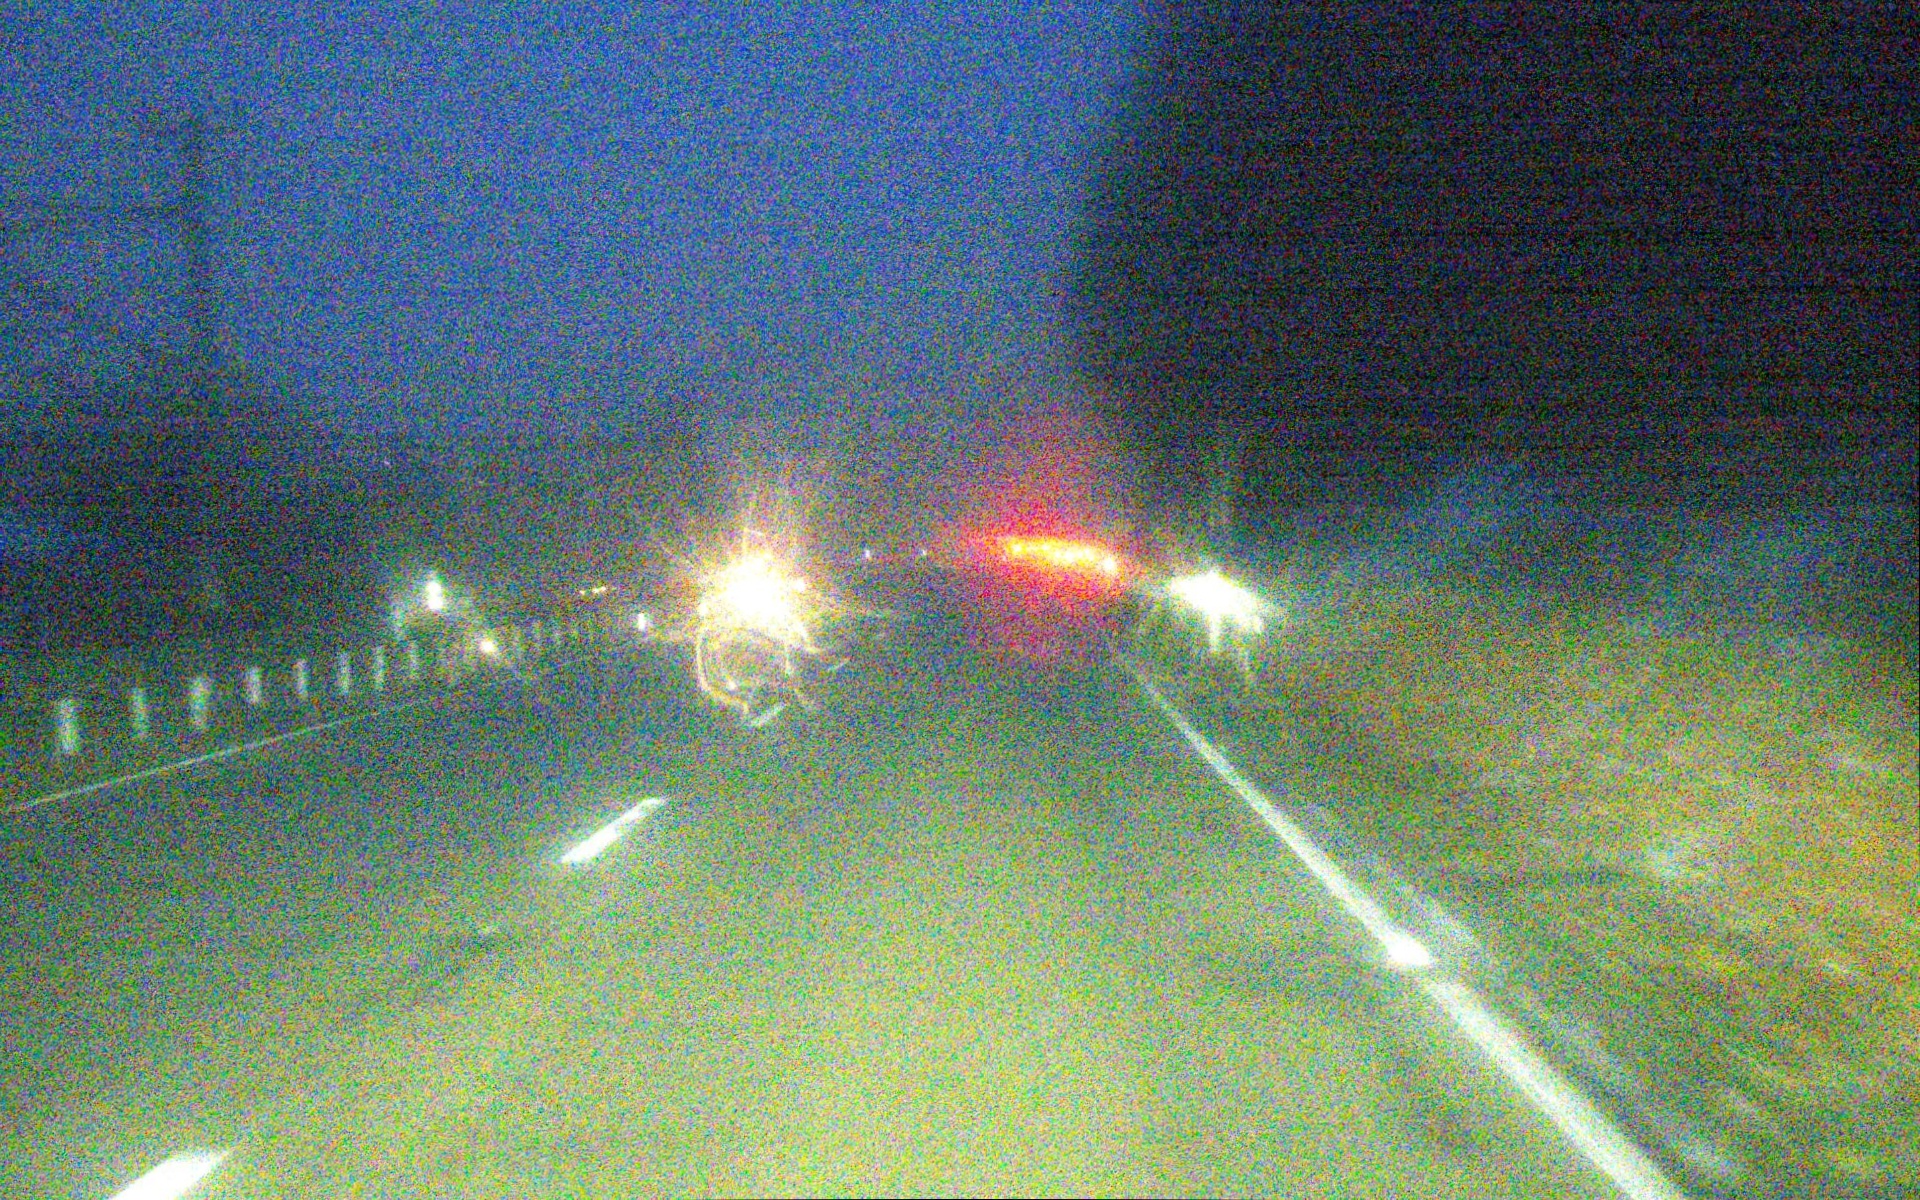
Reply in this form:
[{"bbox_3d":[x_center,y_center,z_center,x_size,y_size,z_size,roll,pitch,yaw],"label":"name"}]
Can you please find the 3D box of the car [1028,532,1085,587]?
[{"bbox_3d":[3.841,-1.578,136.718,2.197,2.007,4.206,0,-2,2],"label":"car"}]
